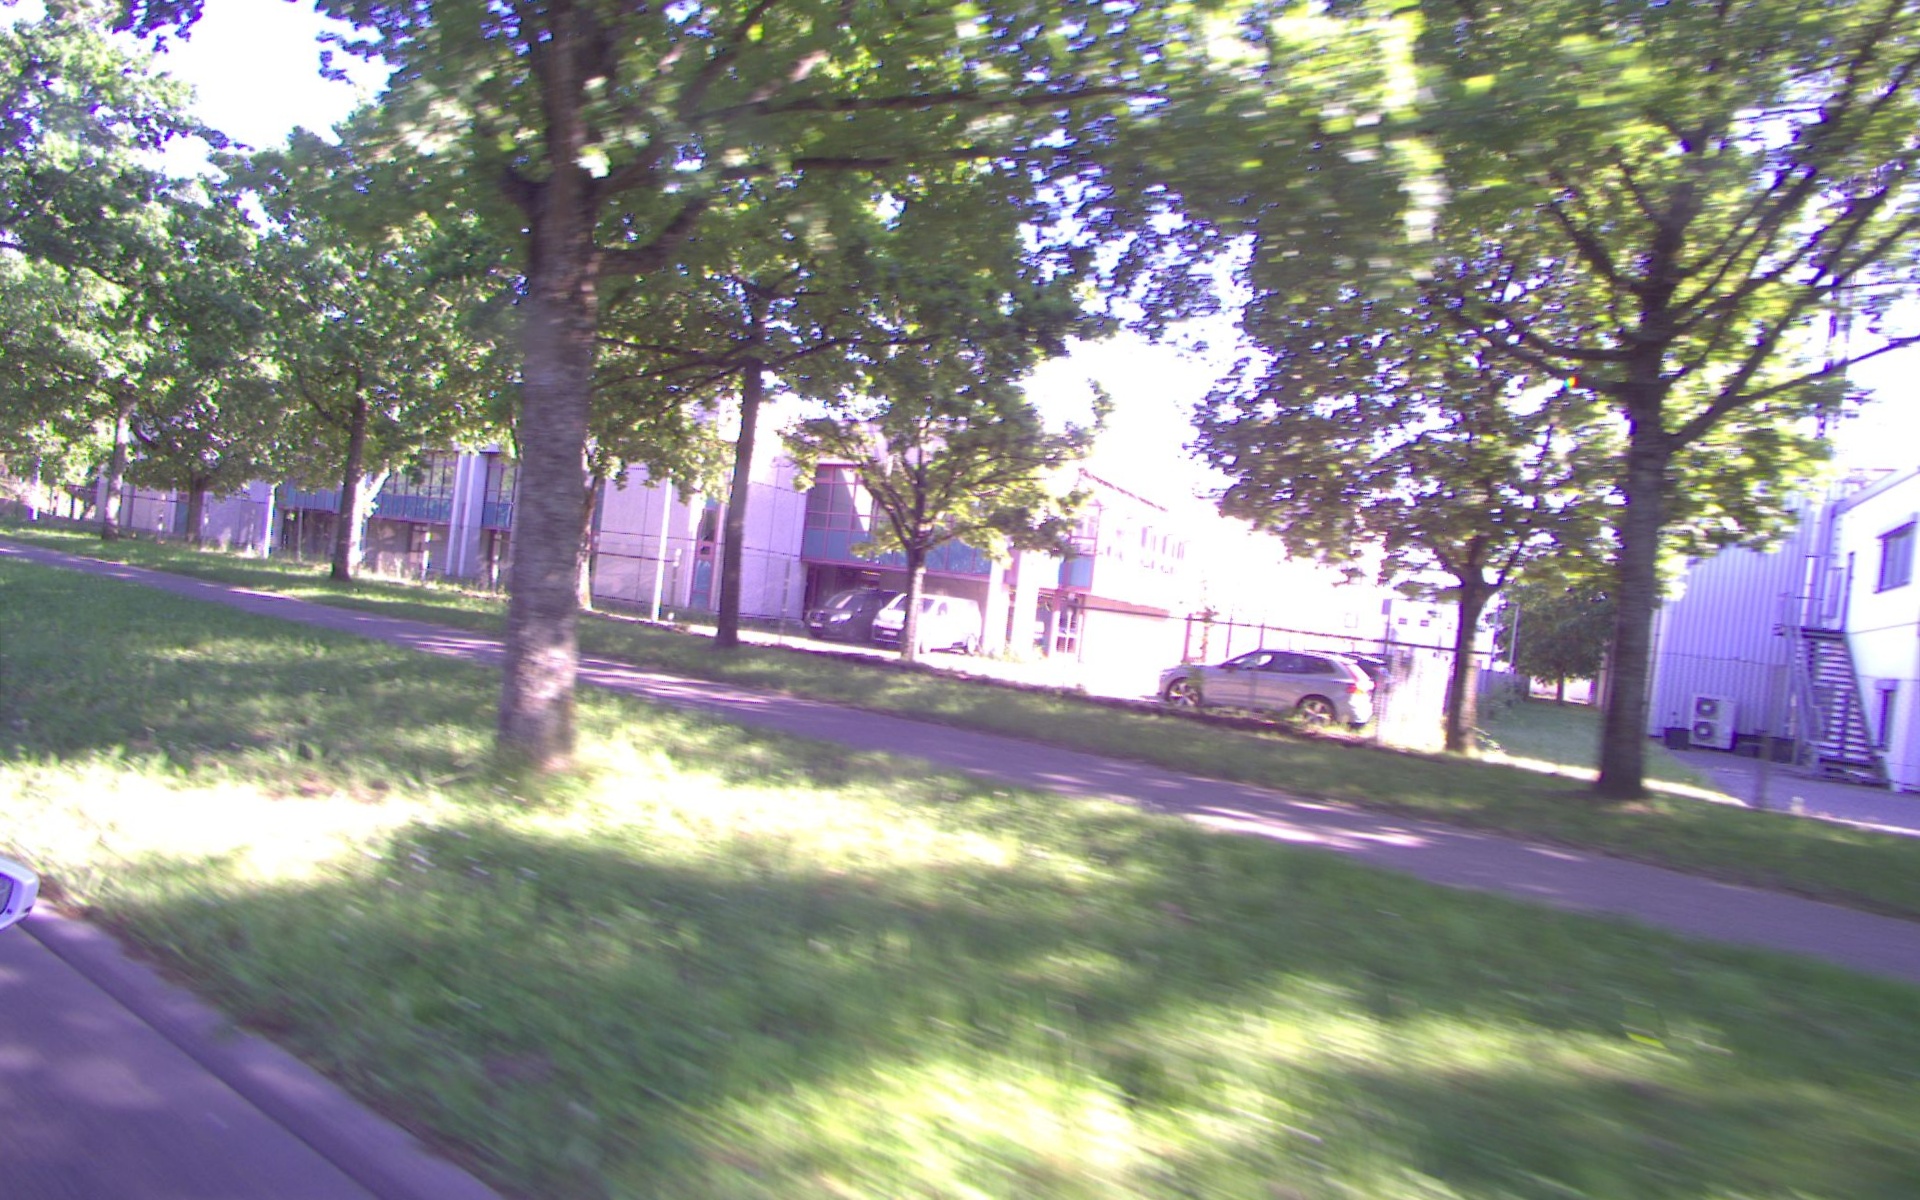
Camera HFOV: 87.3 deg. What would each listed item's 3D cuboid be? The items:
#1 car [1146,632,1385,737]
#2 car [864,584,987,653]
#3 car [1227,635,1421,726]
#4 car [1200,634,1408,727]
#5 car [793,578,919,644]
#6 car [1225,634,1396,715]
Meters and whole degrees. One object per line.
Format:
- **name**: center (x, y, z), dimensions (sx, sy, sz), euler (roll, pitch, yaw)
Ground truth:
- **car**: center (6.755, 1.807, 22.322), dimensions (4.635, 1.626, 1.997), euler (6, 0, 29)
- **car**: center (-1.045, 0.684, 34.131), dimensions (1.861, 1.984, 5.072), euler (7, 1, 26)
- **car**: center (9.558, 2.064, 26.461), dimensions (4.380, 1.694, 1.997), euler (7, 0, 29)
- **car**: center (8.353, 1.907, 24.476), dimensions (4.380, 1.578, 1.997), euler (7, 0, 29)
- **car**: center (-3.575, 0.453, 35.610), dimensions (1.965, 1.907, 4.959), euler (7, 0, 26)
- **car**: center (10.226, 2.162, 29.360), dimensions (4.377, 1.692, 2.000), euler (7, -2, 26)
